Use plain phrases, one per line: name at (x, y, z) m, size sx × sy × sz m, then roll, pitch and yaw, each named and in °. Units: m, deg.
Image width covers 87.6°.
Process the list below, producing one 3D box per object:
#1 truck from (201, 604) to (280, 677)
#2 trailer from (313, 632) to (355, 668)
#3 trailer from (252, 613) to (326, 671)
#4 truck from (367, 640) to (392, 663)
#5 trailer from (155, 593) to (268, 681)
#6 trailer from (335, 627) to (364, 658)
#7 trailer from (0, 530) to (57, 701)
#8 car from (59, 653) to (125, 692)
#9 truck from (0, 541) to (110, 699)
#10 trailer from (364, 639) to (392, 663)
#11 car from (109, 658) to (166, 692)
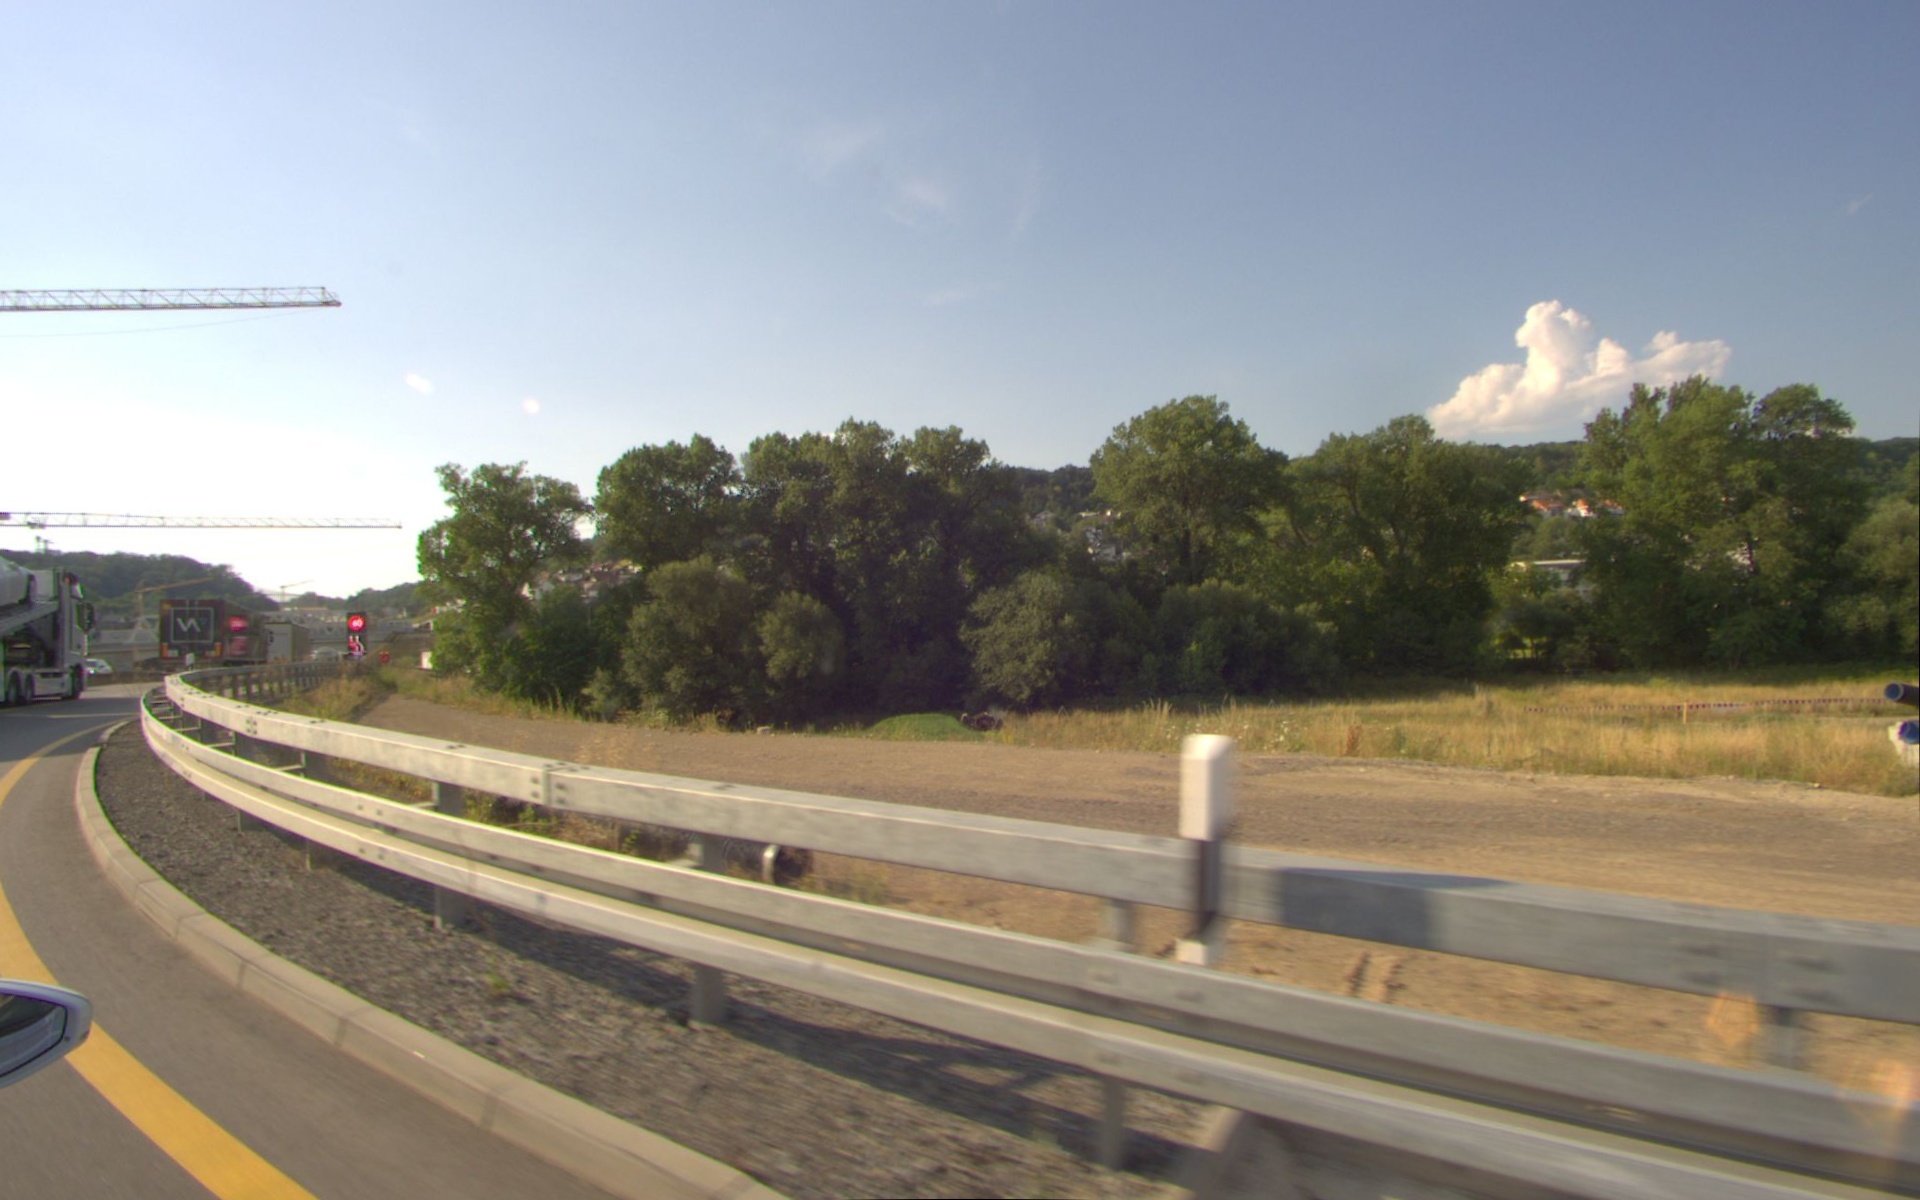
truck at (-42.895, 2.456, 59.883) m, size 2.850 × 4.047 × 6.599 m, roll -1°, pitch -2°, yaw -27°
trailer at (-75.621, 6.076, 121.231) m, size 3.345 × 4.046 × 14.685 m, roll -1°, pitch -2°, yaw -28°
trailer at (-52.294, 3.368, 78.438) m, size 3.345 × 4.046 × 14.685 m, roll -1°, pitch -2°, yaw -28°
truck at (-114.296, 10.116, 197.149) m, size 3.982 × 4.339 × 6.597 m, roll -1°, pitch -2°, yaw -29°
trailer at (-39.414, 2.034, 53.117) m, size 2.923 × 4.143 × 10.753 m, roll -2°, pitch -2°, yaw -27°
trailer at (-94.054, 6.636, 154.451) m, size 3.067 × 4.368 × 14.193 m, roll -1°, pitch -2°, yaw -28°
trailer at (-22.175, 0.189, 19.732) m, size 2.824 × 4.046 × 15.682 m, roll -1°, pitch -2°, yaw -28°
car at (-44.625, 3.705, 51.549) m, size 1.809 × 1.774 × 3.981 m, roll -2°, pitch -2°, yaw -30°
truck at (-26.736, 0.690, 28.262) m, size 2.815 × 4.047 × 6.597 m, roll -1°, pitch -2°, yaw -28°
trailer at (-110.990, 9.739, 191.067) m, size 4.049 × 4.368 × 14.193 m, roll -1°, pitch -2°, yaw -28°
car at (-45.798, 4.149, 55.832) m, size 1.809 × 1.675 × 3.981 m, roll -2°, pitch -2°, yaw -30°
